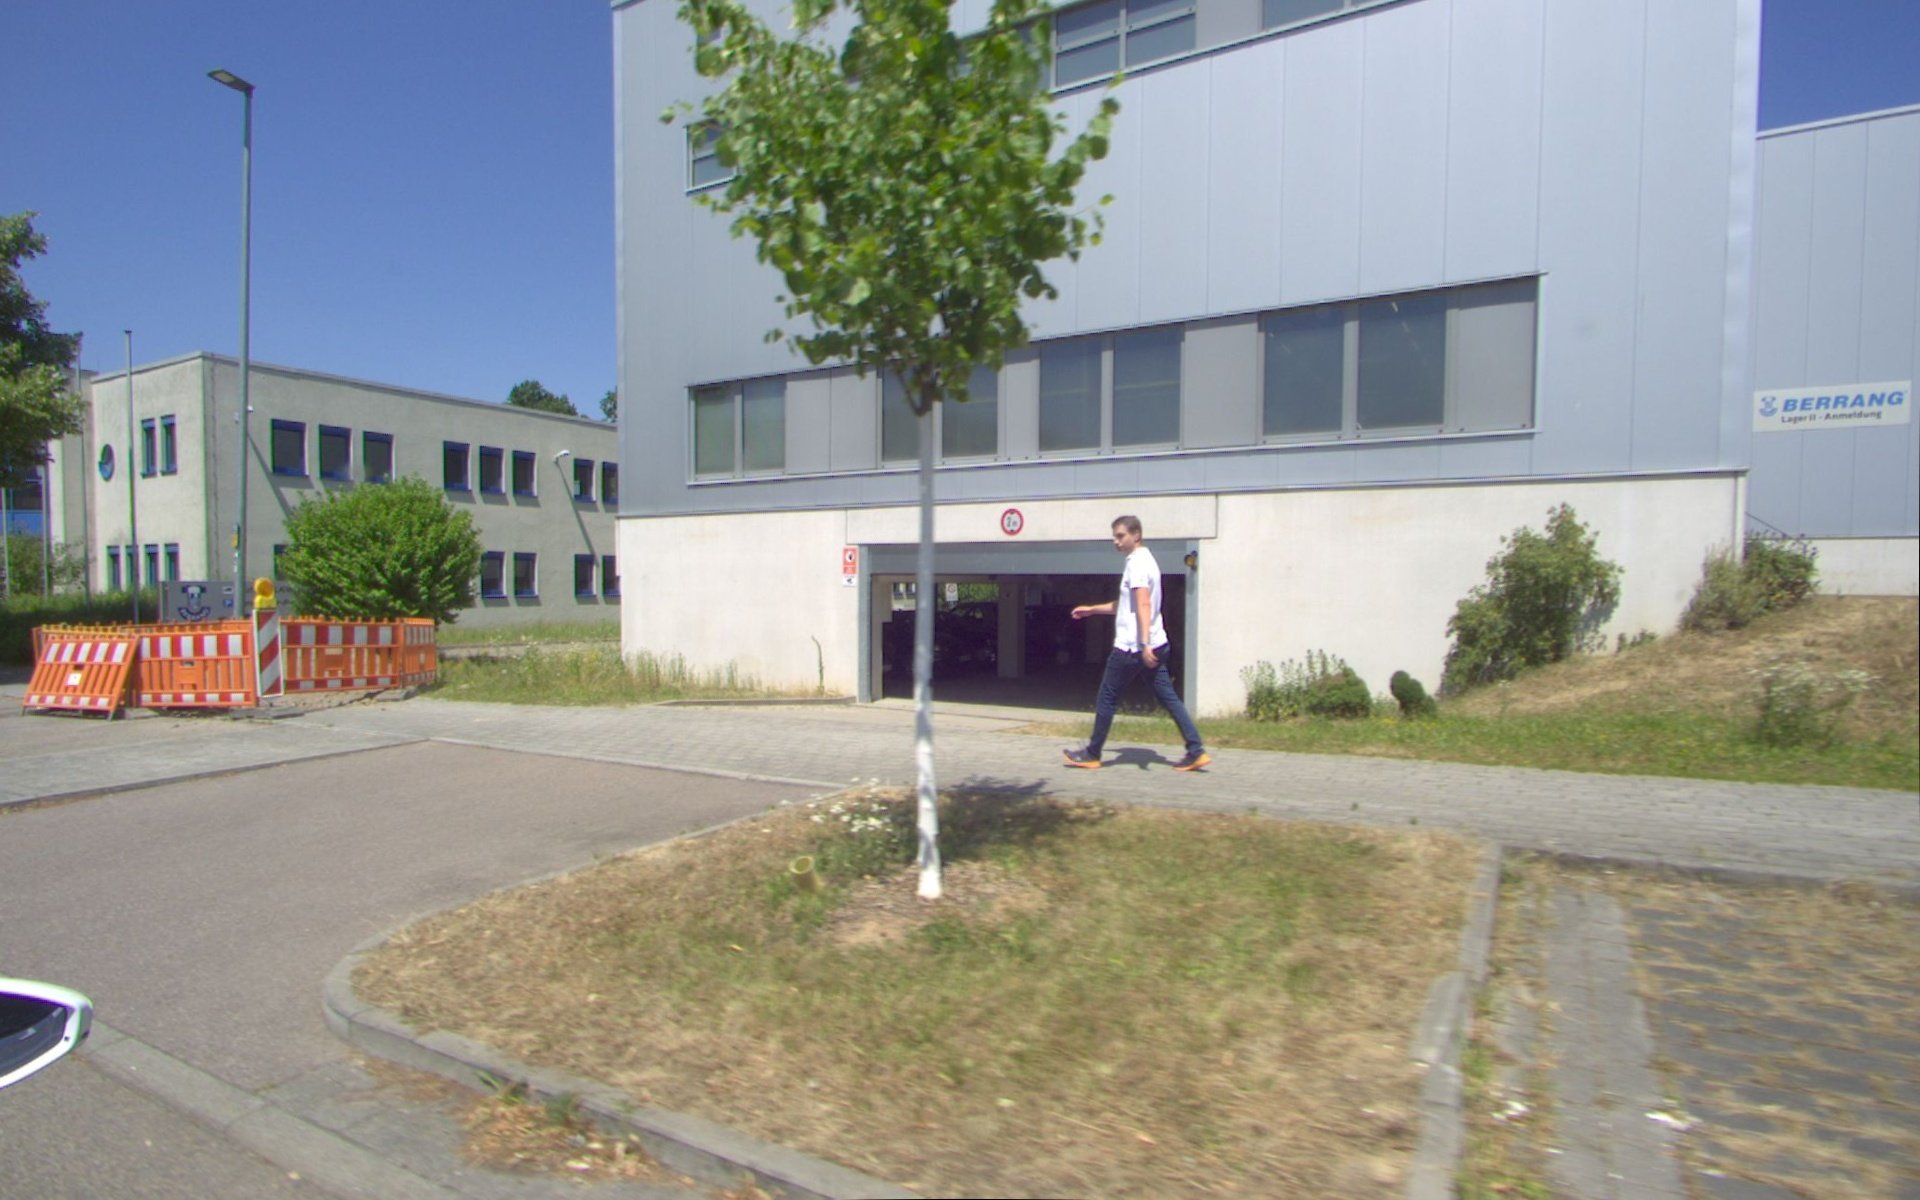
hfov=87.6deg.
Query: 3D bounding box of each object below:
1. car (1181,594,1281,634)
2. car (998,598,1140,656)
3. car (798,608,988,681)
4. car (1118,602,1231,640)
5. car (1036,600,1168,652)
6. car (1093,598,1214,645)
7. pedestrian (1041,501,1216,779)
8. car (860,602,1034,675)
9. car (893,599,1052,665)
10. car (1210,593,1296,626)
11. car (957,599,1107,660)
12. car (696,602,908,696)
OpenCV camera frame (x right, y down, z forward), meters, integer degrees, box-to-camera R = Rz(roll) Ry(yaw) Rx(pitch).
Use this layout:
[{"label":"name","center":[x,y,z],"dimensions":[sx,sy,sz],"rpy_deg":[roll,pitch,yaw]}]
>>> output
[{"label":"car","center":[11.956,0.629,44.187],"dimensions":[3.945,1.659,1.698],"rpy_deg":[-1,-1,34]},{"label":"car","center":[3.357,0.793,31.168],"dimensions":[3.943,1.473,1.877],"rpy_deg":[3,3,34]},{"label":"car","center":[-1.523,0.961,22.417],"dimensions":[3.945,1.496,1.878],"rpy_deg":[-1,-1,34]},{"label":"car","center":[8.299,0.810,38.796],"dimensions":[3.945,1.429,1.698],"rpy_deg":[-1,-1,34]},{"label":"car","center":[4.665,0.809,33.086],"dimensions":[3.943,1.430,1.698],"rpy_deg":[3,3,34]},{"label":"car","center":[6.989,0.734,36.284],"dimensions":[3.943,1.430,1.698],"rpy_deg":[3,3,34]},{"label":"pedestrian","center":[1.279,0.273,7.481],"dimensions":[1.192,1.914,0.864],"rpy_deg":[1,1,15]},{"label":"car","center":[-0.355,0.900,25.010],"dimensions":[3.943,1.473,1.877],"rpy_deg":[3,3,34]},{"label":"car","center":[0.312,0.808,27.481],"dimensions":[3.943,1.473,1.877],"rpy_deg":[3,3,34]},{"label":"car","center":[15.205,0.526,52.031],"dimensions":[3.945,1.659,1.698],"rpy_deg":[-1,-1,34]},{"label":"car","center":[2.082,0.817,29.331],"dimensions":[3.943,1.473,1.877],"rpy_deg":[3,3,34]},{"label":"car","center":[-3.161,0.884,19.800],"dimensions":[3.943,1.473,1.821],"rpy_deg":[3,3,34]}]
